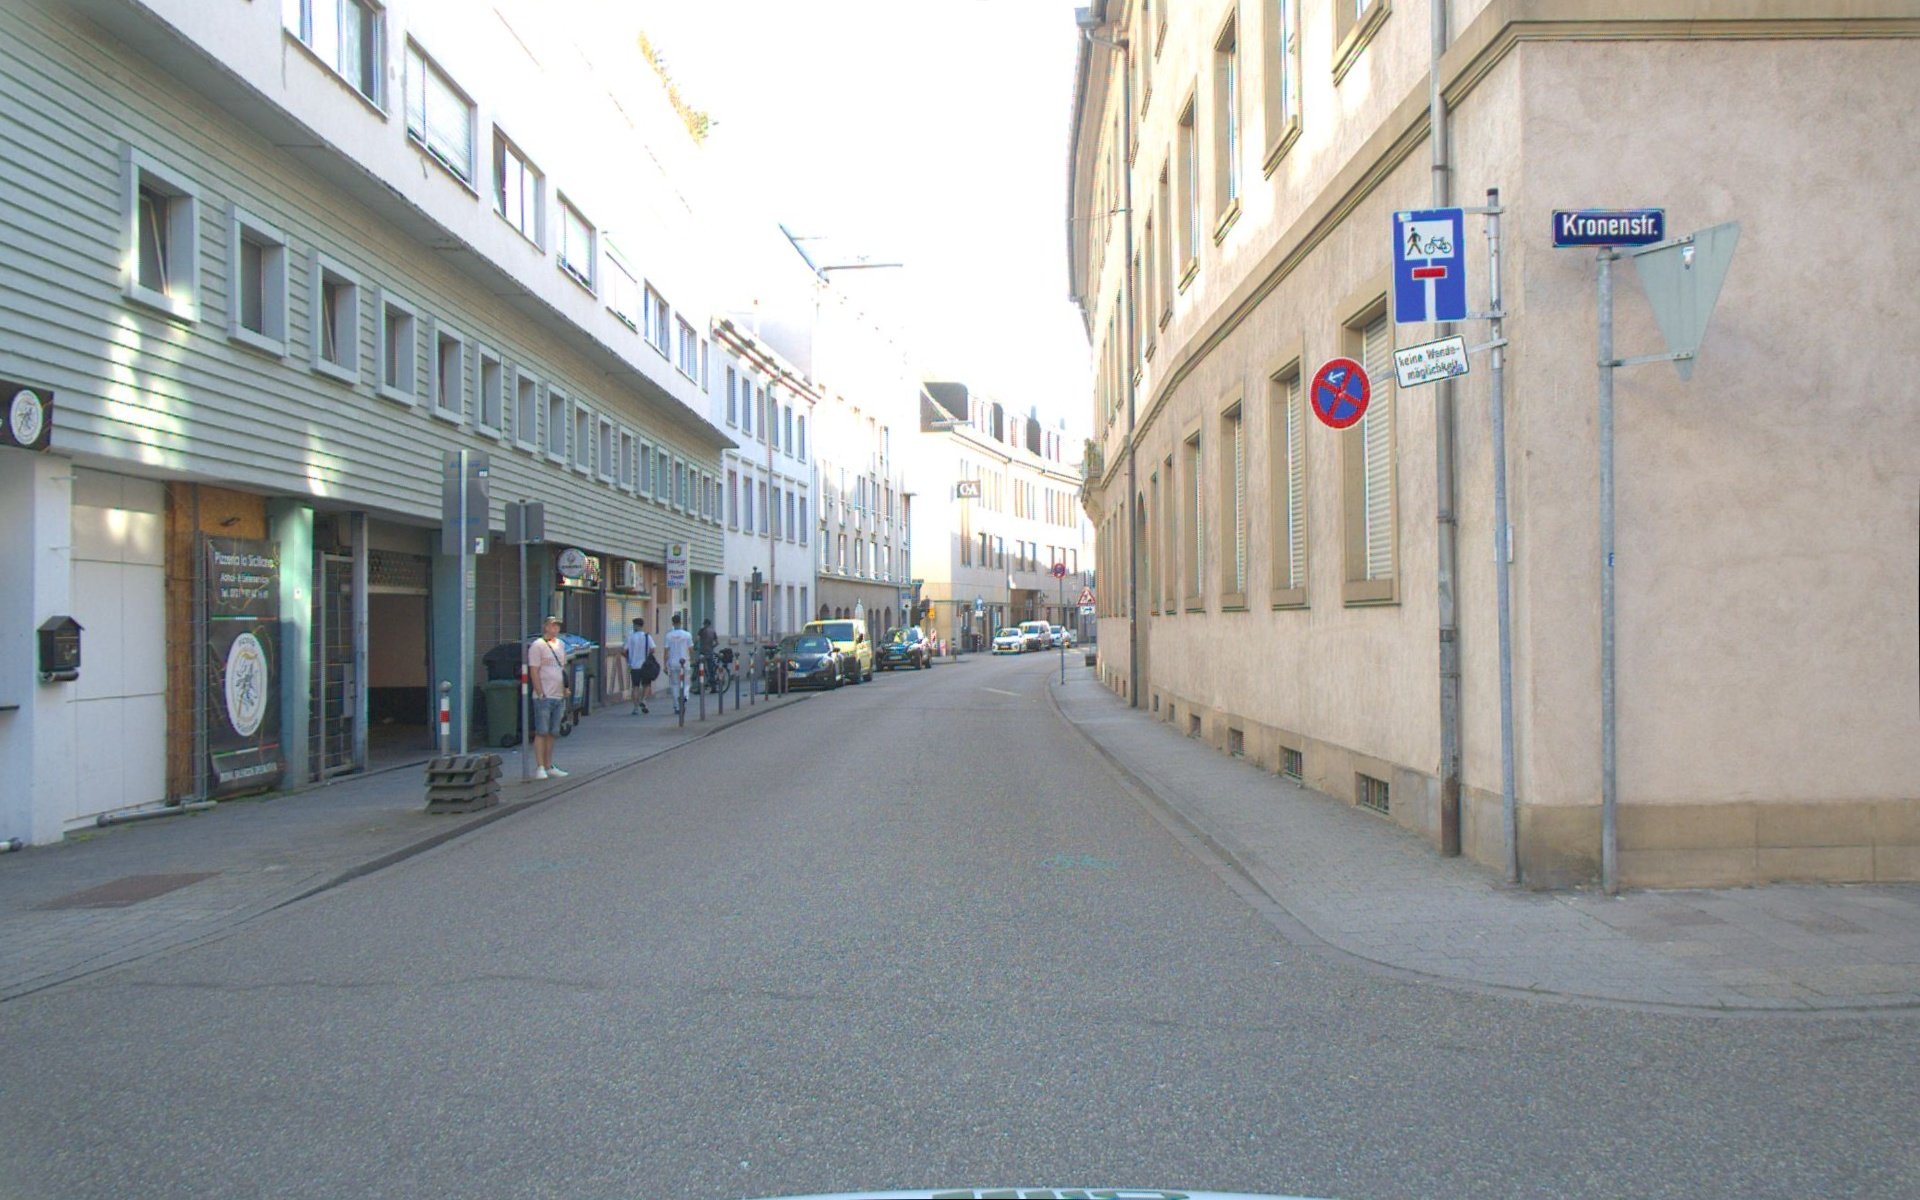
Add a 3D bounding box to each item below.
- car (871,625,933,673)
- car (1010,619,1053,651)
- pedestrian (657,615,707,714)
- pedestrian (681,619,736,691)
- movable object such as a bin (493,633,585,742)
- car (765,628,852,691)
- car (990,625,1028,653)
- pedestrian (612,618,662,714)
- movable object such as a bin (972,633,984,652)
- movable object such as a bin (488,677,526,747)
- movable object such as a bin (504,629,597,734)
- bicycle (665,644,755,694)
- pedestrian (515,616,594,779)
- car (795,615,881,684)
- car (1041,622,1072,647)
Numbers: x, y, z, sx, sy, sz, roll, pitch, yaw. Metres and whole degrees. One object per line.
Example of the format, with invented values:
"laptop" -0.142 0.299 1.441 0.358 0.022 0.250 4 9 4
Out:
"car" -2.296 1.943 66.314 1.703 1.741 4.193 -4 -1 8
"car" 4.458 2.127 102.430 1.635 1.850 4.555 -3 -1 14
"pedestrian" -5.082 1.174 30.267 0.683 1.765 0.829 -2 -1 2
"pedestrian" -6.237 1.361 40.979 1.056 1.759 0.801 -2 -1 25
"movable object such as a bin" -6.225 1.271 24.535 0.948 1.497 1.474 -1 0 0
"car" -4.043 1.564 44.701 1.781 1.512 4.077 -4 -1 2
"car" 2.893 2.272 96.733 1.635 1.533 3.797 -3 -1 9
"pedestrian" -5.904 1.195 30.291 0.658 1.699 0.895 -2 -1 2
"movable object such as a bin" 1.086 2.528 98.187 0.596 1.079 0.713 1 -1 6
"movable object such as a bin" -6.440 1.593 23.524 0.385 0.959 0.467 -1 -1 0
"movable object such as a bin" -6.413 1.261 25.976 1.099 1.547 1.342 -1 0 0
"bicycle" -6.203 1.708 40.959 2.086 1.183 0.823 -2 -1 25
"pedestrian" -4.351 1.032 17.766 0.485 1.699 0.624 0 -2 43
"car" -3.653 1.470 50.261 1.841 1.899 4.866 -4 -1 4
"car" 6.344 2.257 108.395 1.244 1.533 3.404 -3 -1 15
